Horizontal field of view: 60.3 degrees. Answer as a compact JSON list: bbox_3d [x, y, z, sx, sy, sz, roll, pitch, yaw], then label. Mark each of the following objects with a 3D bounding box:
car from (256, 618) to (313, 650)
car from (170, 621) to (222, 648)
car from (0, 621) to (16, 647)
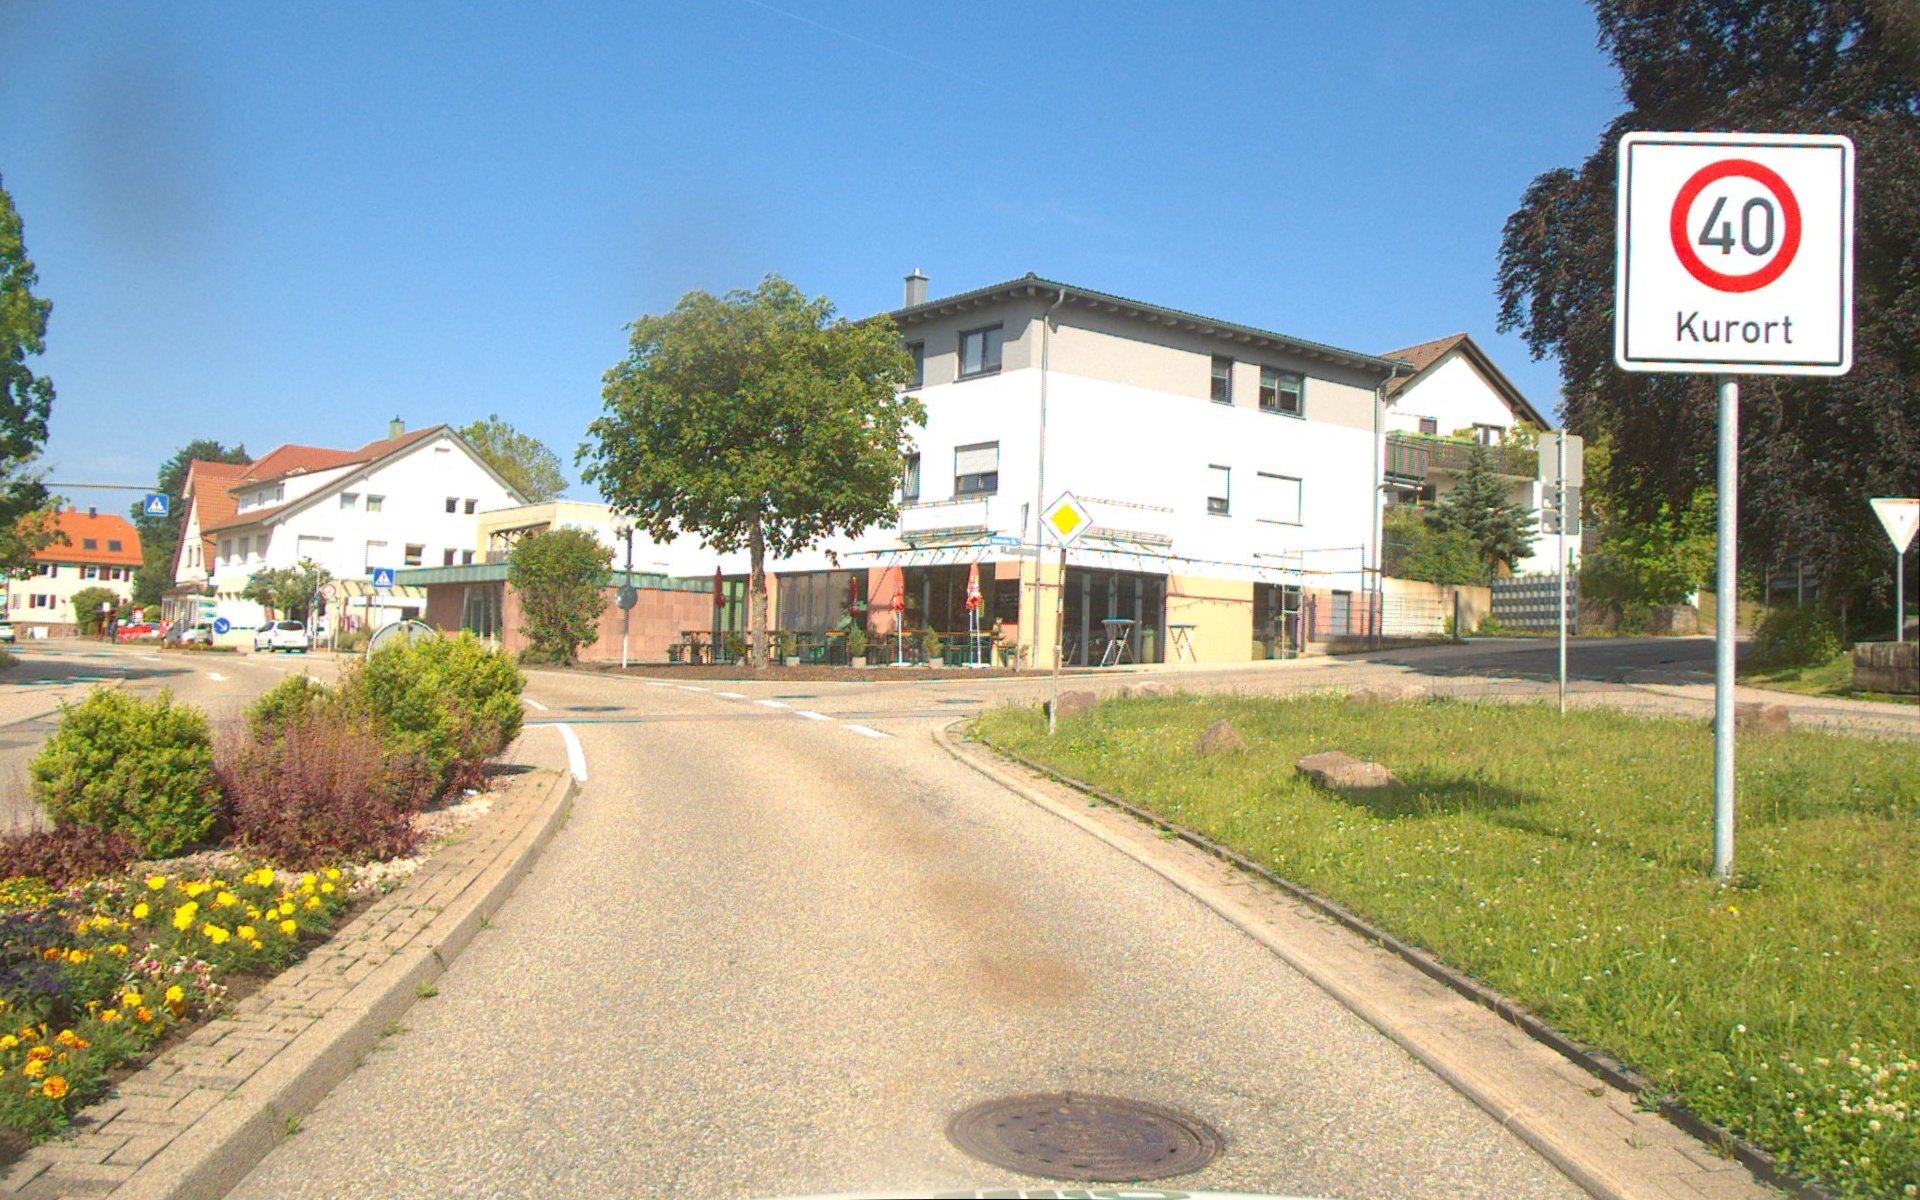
[{"bbox_3d":[-31.245,1.577,76.474,1.745,1.448,3.589,0,-1,-34],"label":"car"},{"bbox_3d":[-42.029,1.872,90.923,1.625,1.445,3.877,0,-1,-40],"label":"car"},{"bbox_3d":[-77.011,2.703,131.876,2.478,2.049,4.246,0,-1,-38],"label":"car"}]
